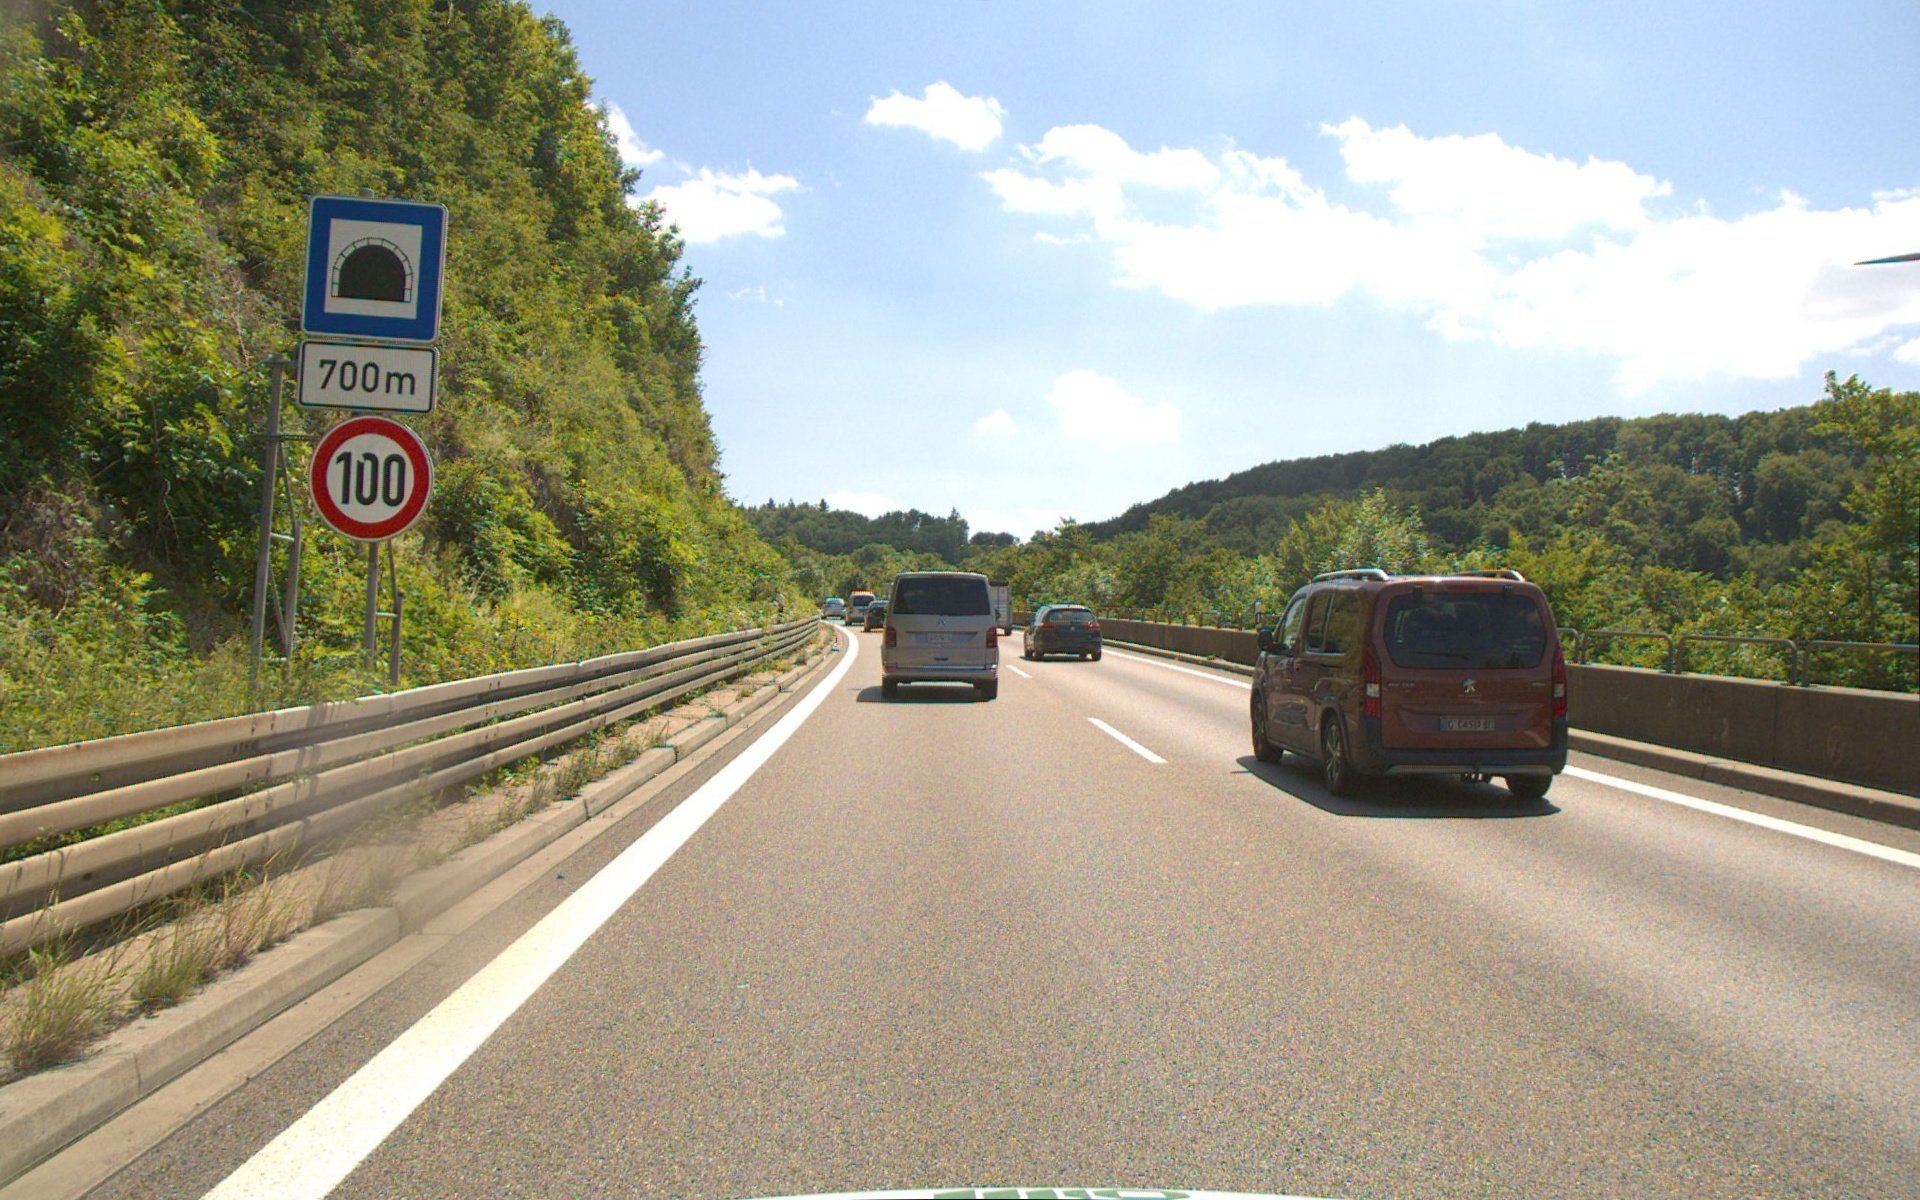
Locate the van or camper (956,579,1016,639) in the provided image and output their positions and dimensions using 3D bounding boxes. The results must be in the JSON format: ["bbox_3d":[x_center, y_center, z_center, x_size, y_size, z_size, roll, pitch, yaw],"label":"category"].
[{"bbox_3d":[1.126,0.402,74.254,2.220,2.596,4.731,-1,0,-5],"label":"van or camper"}]

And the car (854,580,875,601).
[{"bbox_3d":[-9.279,-0.898,159.996,1.954,2.049,3.996,1,0,-4],"label":"car"}]

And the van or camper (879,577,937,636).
[{"bbox_3d":[-3.595,0.429,113.039,3.214,3.855,8.099,1,0,-7],"label":"van or camper"}]

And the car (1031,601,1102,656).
[{"bbox_3d":[2.840,0.728,44.575,1.732,1.400,3.593,1,0,1],"label":"car"}]

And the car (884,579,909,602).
[{"bbox_3d":[-5.720,-0.862,148.073,1.955,2.049,3.994,1,0,-7],"label":"car"}]

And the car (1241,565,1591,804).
[{"bbox_3d":[3.876,0.664,14.956,1.796,1.815,4.674,0,-1,-1],"label":"car"}]

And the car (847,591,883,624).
[{"bbox_3d":[-5.417,0.432,94.924,1.953,1.849,3.998,1,0,-2],"label":"car"}]

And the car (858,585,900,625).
[{"bbox_3d":[-3.896,0.252,79.064,1.954,1.849,3.997,1,0,-3],"label":"car"}]

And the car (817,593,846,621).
[{"bbox_3d":[-9.060,0.472,117.059,1.954,1.948,3.997,1,0,-4],"label":"car"}]

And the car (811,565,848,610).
[{"bbox_3d":[-14.978,-1.417,189.145,3.965,4.957,10.096,1,0,-6],"label":"car"}]

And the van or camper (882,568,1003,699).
[{"bbox_3d":[-0.357,0.512,27.348,1.838,1.983,4.291,0,0,-2],"label":"van or camper"}]
